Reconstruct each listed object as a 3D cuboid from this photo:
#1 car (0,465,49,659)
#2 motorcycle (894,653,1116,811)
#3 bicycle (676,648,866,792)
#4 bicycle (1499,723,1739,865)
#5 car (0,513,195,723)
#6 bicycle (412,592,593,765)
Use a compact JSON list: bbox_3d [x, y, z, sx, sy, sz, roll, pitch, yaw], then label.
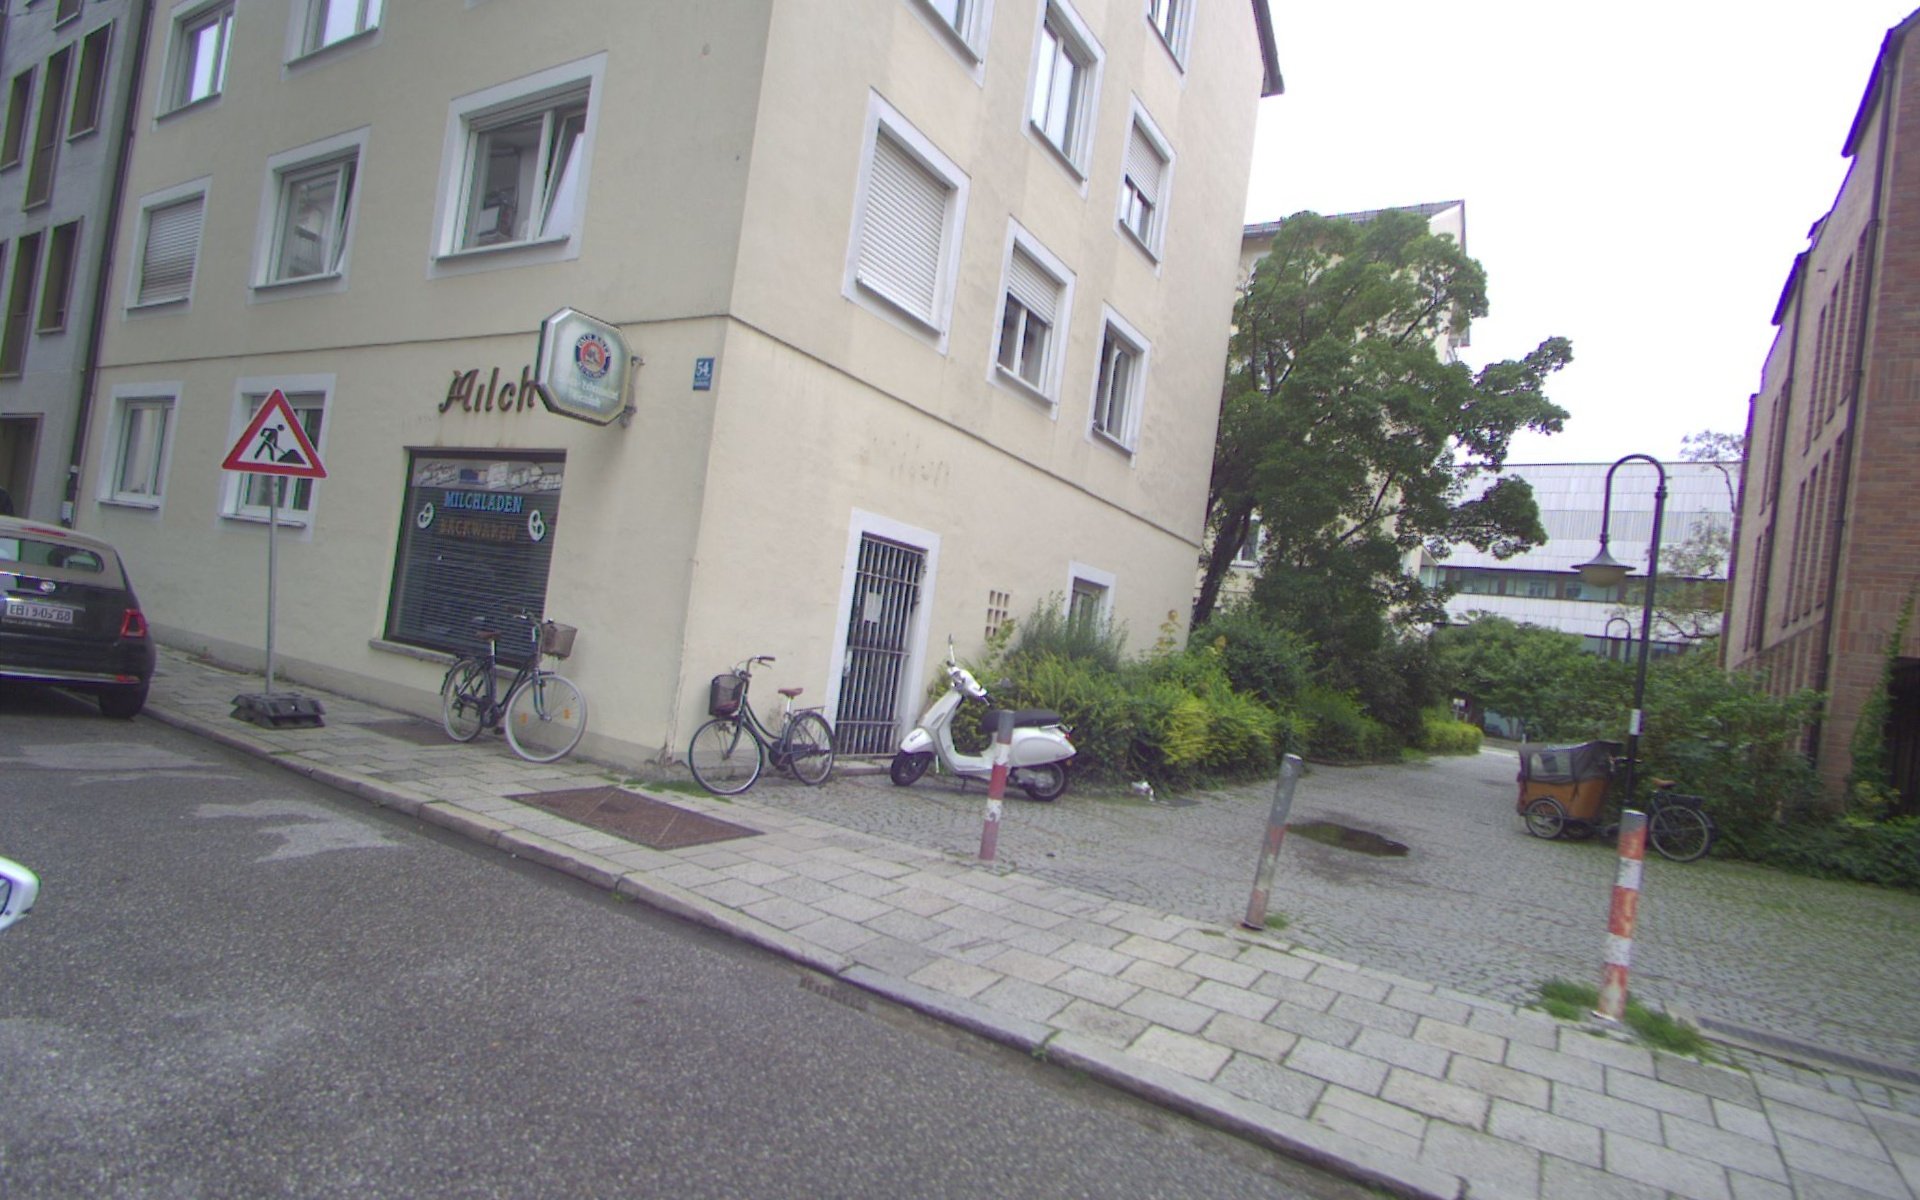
[{"bbox_3d":[-12.461,-0.728,11.124,4.803,1.997,1.997,7,-4,31],"label":"car"},{"bbox_3d":[0.390,1.203,9.289,1.841,1.135,0.621,9,0,-5],"label":"motorcycle"},{"bbox_3d":[-1.511,0.981,8.353,0.404,1.038,1.703,5,-2,33],"label":"bicycle"},{"bbox_3d":[7.790,2.261,12.046,0.799,1.282,2.254,9,-4,-24],"label":"bicycle"},{"bbox_3d":[-8.312,0.000,8.559,3.480,1.486,1.639,6,-4,33],"label":"car"},{"bbox_3d":[-3.861,0.617,8.427,1.790,1.229,0.410,5,0,33],"label":"bicycle"}]
